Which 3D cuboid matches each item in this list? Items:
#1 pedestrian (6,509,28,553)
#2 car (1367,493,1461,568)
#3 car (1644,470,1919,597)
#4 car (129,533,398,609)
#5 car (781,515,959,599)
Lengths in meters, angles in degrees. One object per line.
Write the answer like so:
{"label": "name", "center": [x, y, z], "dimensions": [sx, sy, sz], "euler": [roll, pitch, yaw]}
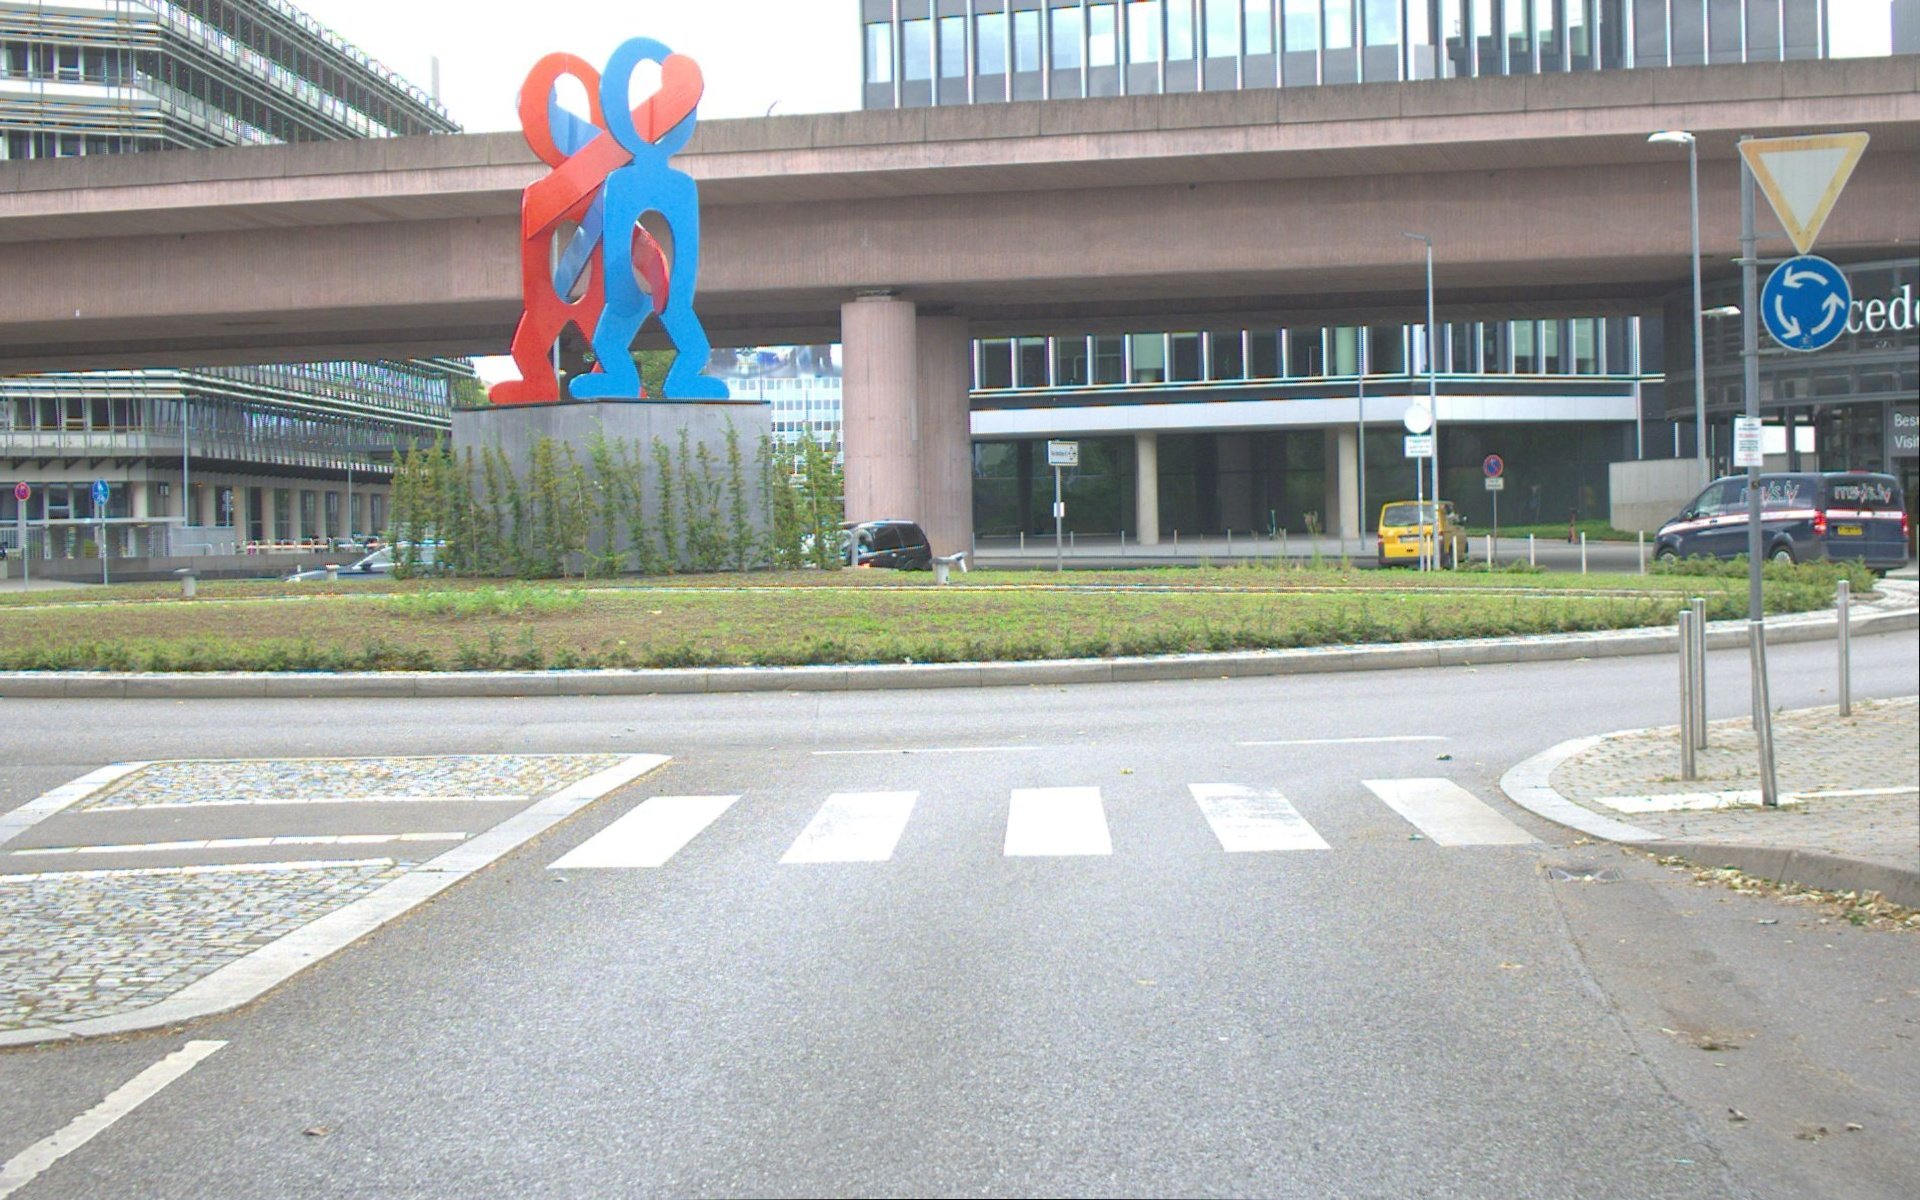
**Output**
{"label": "pedestrian", "center": [-43.119, -3.167, 157.163], "dimensions": [0.776, 2.006, 0.671], "euler": [-1, 1, -1]}
{"label": "car", "center": [12.360, -1.878, 93.454], "dimensions": [1.995, 2.007, 3.997], "euler": [0, 1, 15]}
{"label": "car", "center": [13.659, -1.097, 57.067], "dimensions": [2.275, 2.007, 4.785], "euler": [-1, 1, -22]}
{"label": "car", "center": [-13.692, -0.576, 67.781], "dimensions": [4.918, 1.455, 2.000], "euler": [0, 1, -2]}
{"label": "car", "center": [-1.938, -0.952, 74.941], "dimensions": [1.997, 1.766, 3.993], "euler": [0, 1, 32]}
